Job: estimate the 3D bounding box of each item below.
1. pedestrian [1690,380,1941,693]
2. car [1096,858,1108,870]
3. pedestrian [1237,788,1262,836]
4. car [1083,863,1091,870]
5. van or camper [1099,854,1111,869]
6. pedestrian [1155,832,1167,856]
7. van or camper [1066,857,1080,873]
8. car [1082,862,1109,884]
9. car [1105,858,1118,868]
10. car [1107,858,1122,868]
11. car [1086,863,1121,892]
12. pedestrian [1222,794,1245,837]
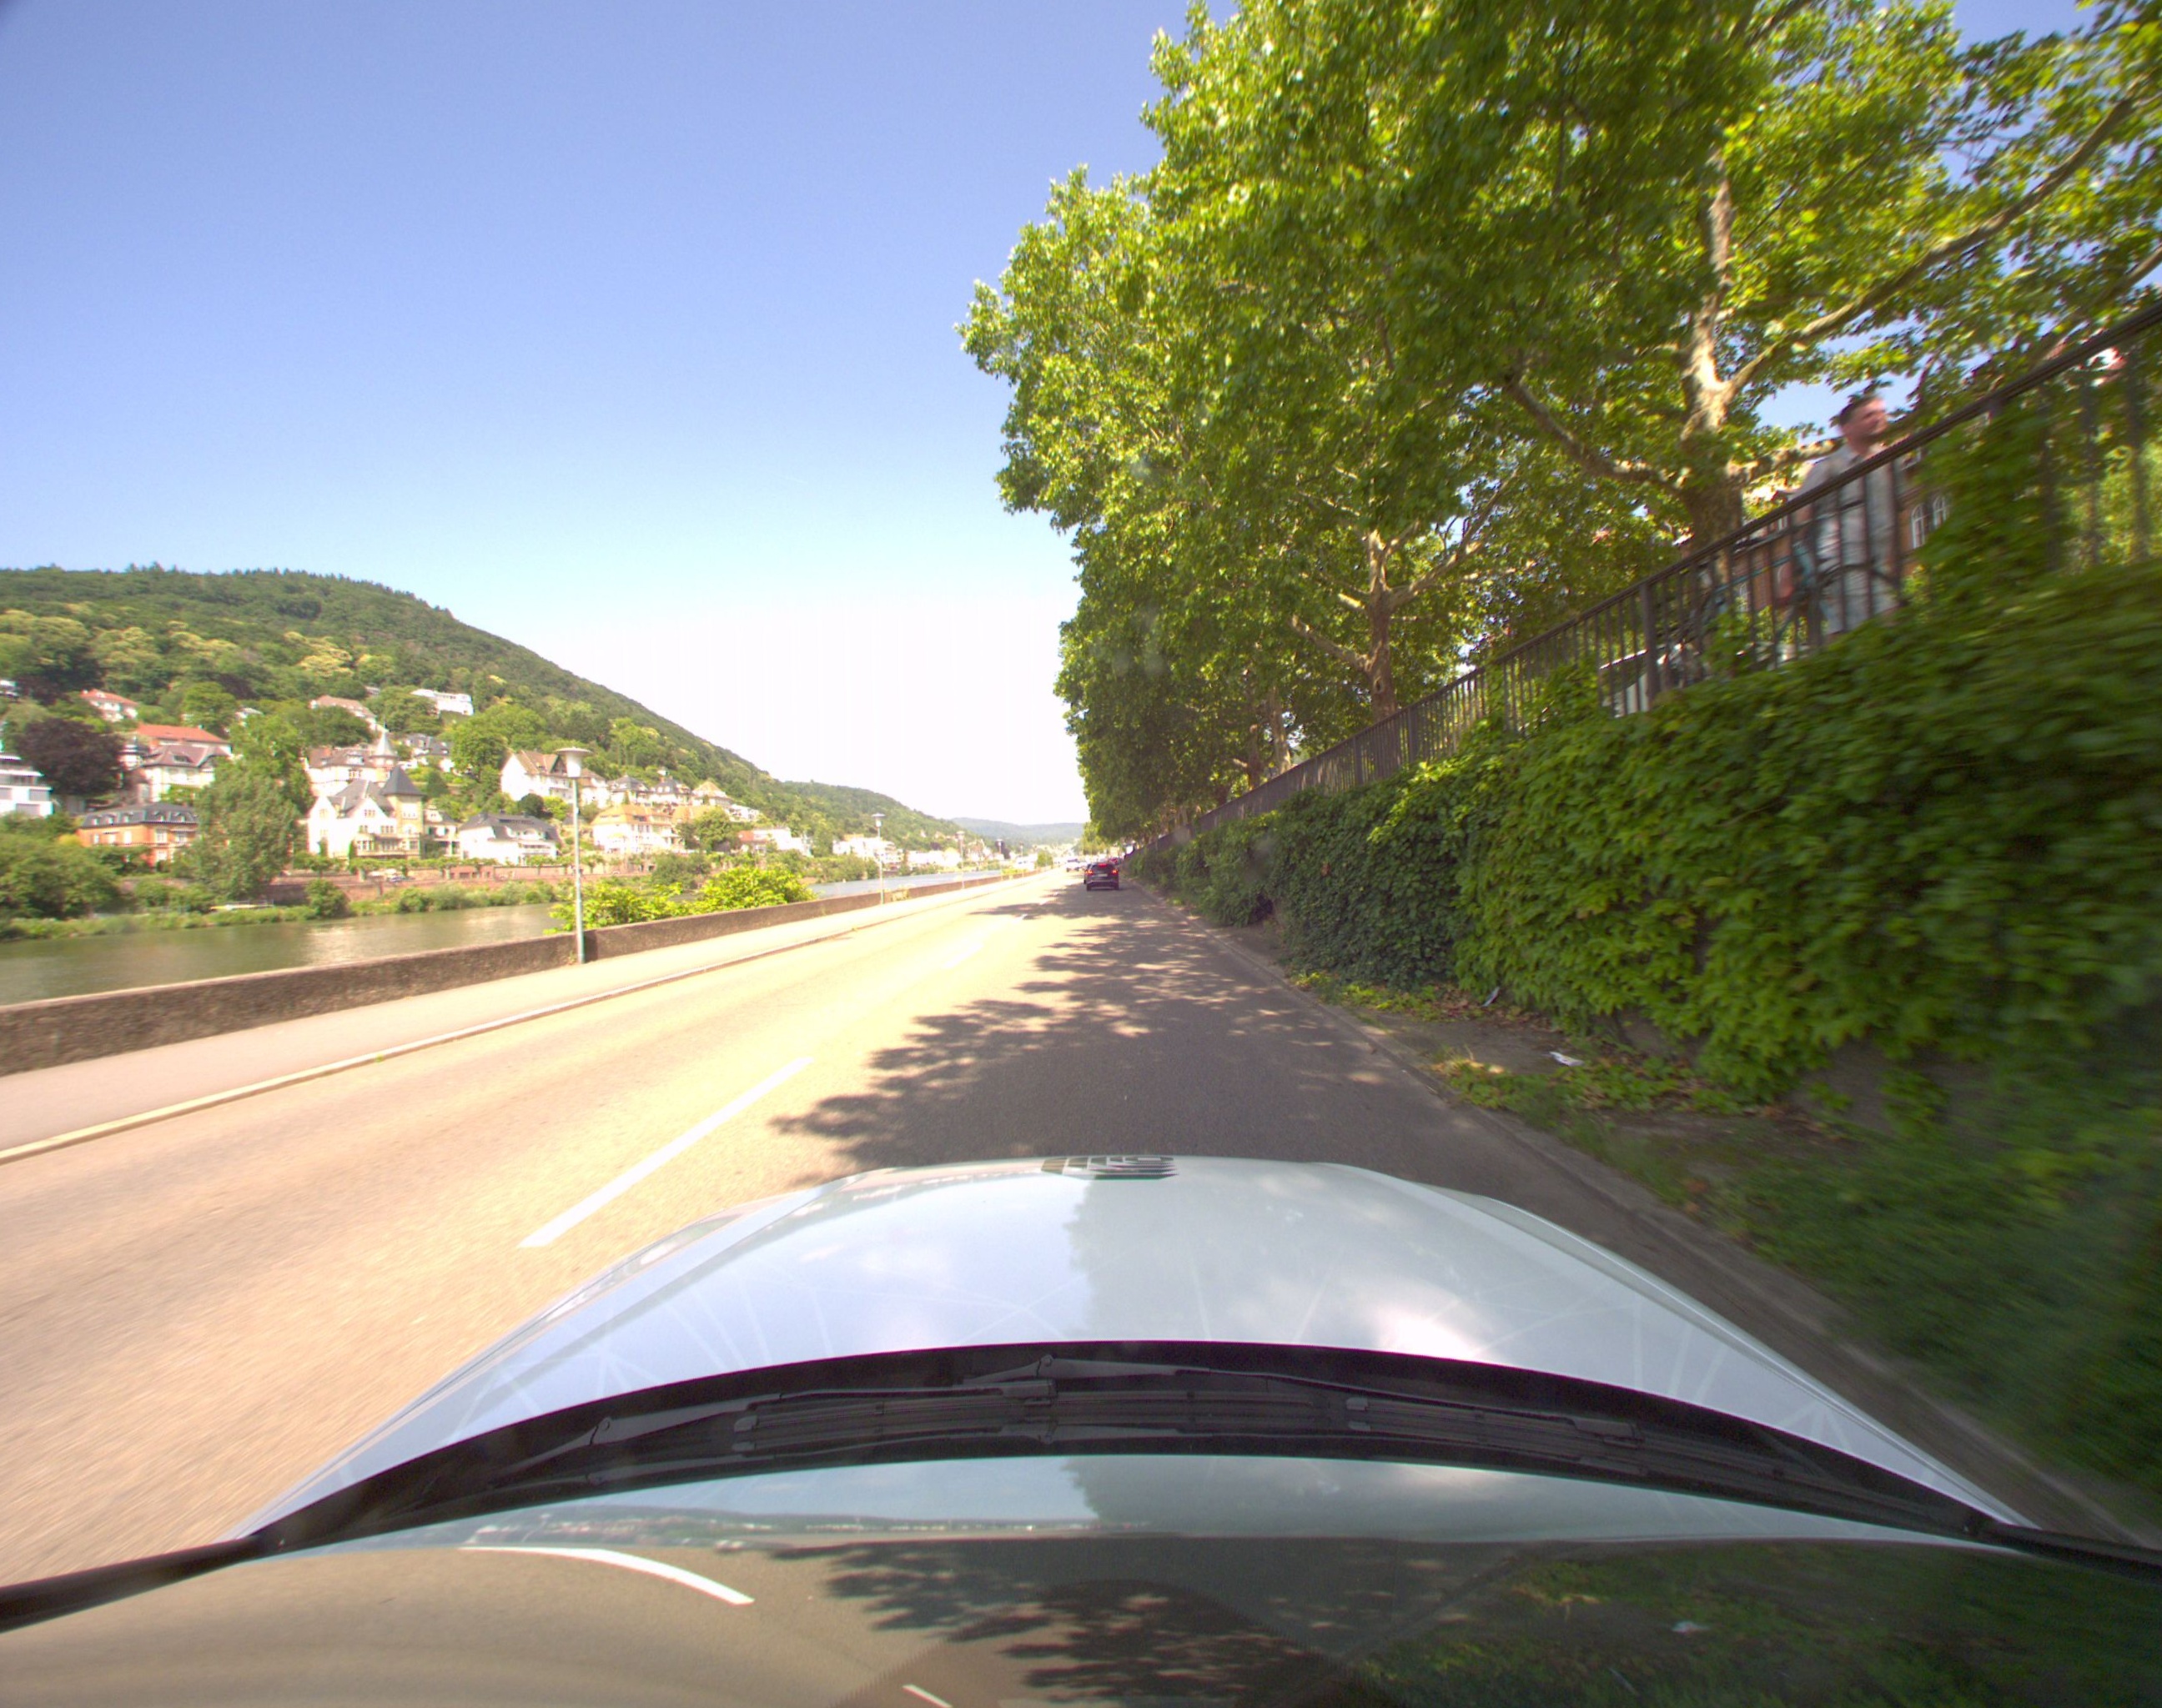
[{"bbox_3d":[4.497,-1.895,5.057,0.734,1.591,0.811,-3,-1,1],"label":"pedestrian"},{"bbox_3d":[3.877,1.833,150.834,1.987,2.169,4.000,-3,-1,0],"label":"car"},{"bbox_3d":[5.957,-1.483,28.841,0.646,1.640,0.625,-3,-1,-7],"label":"pedestrian"},{"bbox_3d":[1.370,2.685,179.490,1.726,1.442,4.045,-4,-1,1],"label":"car"},{"bbox_3d":[4.817,1.595,164.072,2.301,2.847,4.248,-3,-1,3],"label":"van or camper"},{"bbox_3d":[5.562,-0.690,56.759,0.662,1.591,0.651,-3,-1,0],"label":"pedestrian"},{"bbox_3d":[-1.295,1.758,132.974,2.070,2.398,5.385,-4,-1,1],"label":"van or camper"},{"bbox_3d":[1.042,1.362,59.480,1.822,1.511,4.000,-1,-1,0],"label":"car"},{"bbox_3d":[7.062,2.042,188.605,2.653,2.013,5.824,-5,-1,0],"label":"car"},{"bbox_3d":[7.235,1.931,176.913,3.088,2.013,5.824,-5,-1,0],"label":"car"},{"bbox_3d":[1.203,1.287,45.447,1.822,1.486,4.000,-1,-1,0],"label":"car"},{"bbox_3d":[5.337,-1.340,28.513,0.584,1.419,0.588,-3,-1,-7],"label":"pedestrian"}]
